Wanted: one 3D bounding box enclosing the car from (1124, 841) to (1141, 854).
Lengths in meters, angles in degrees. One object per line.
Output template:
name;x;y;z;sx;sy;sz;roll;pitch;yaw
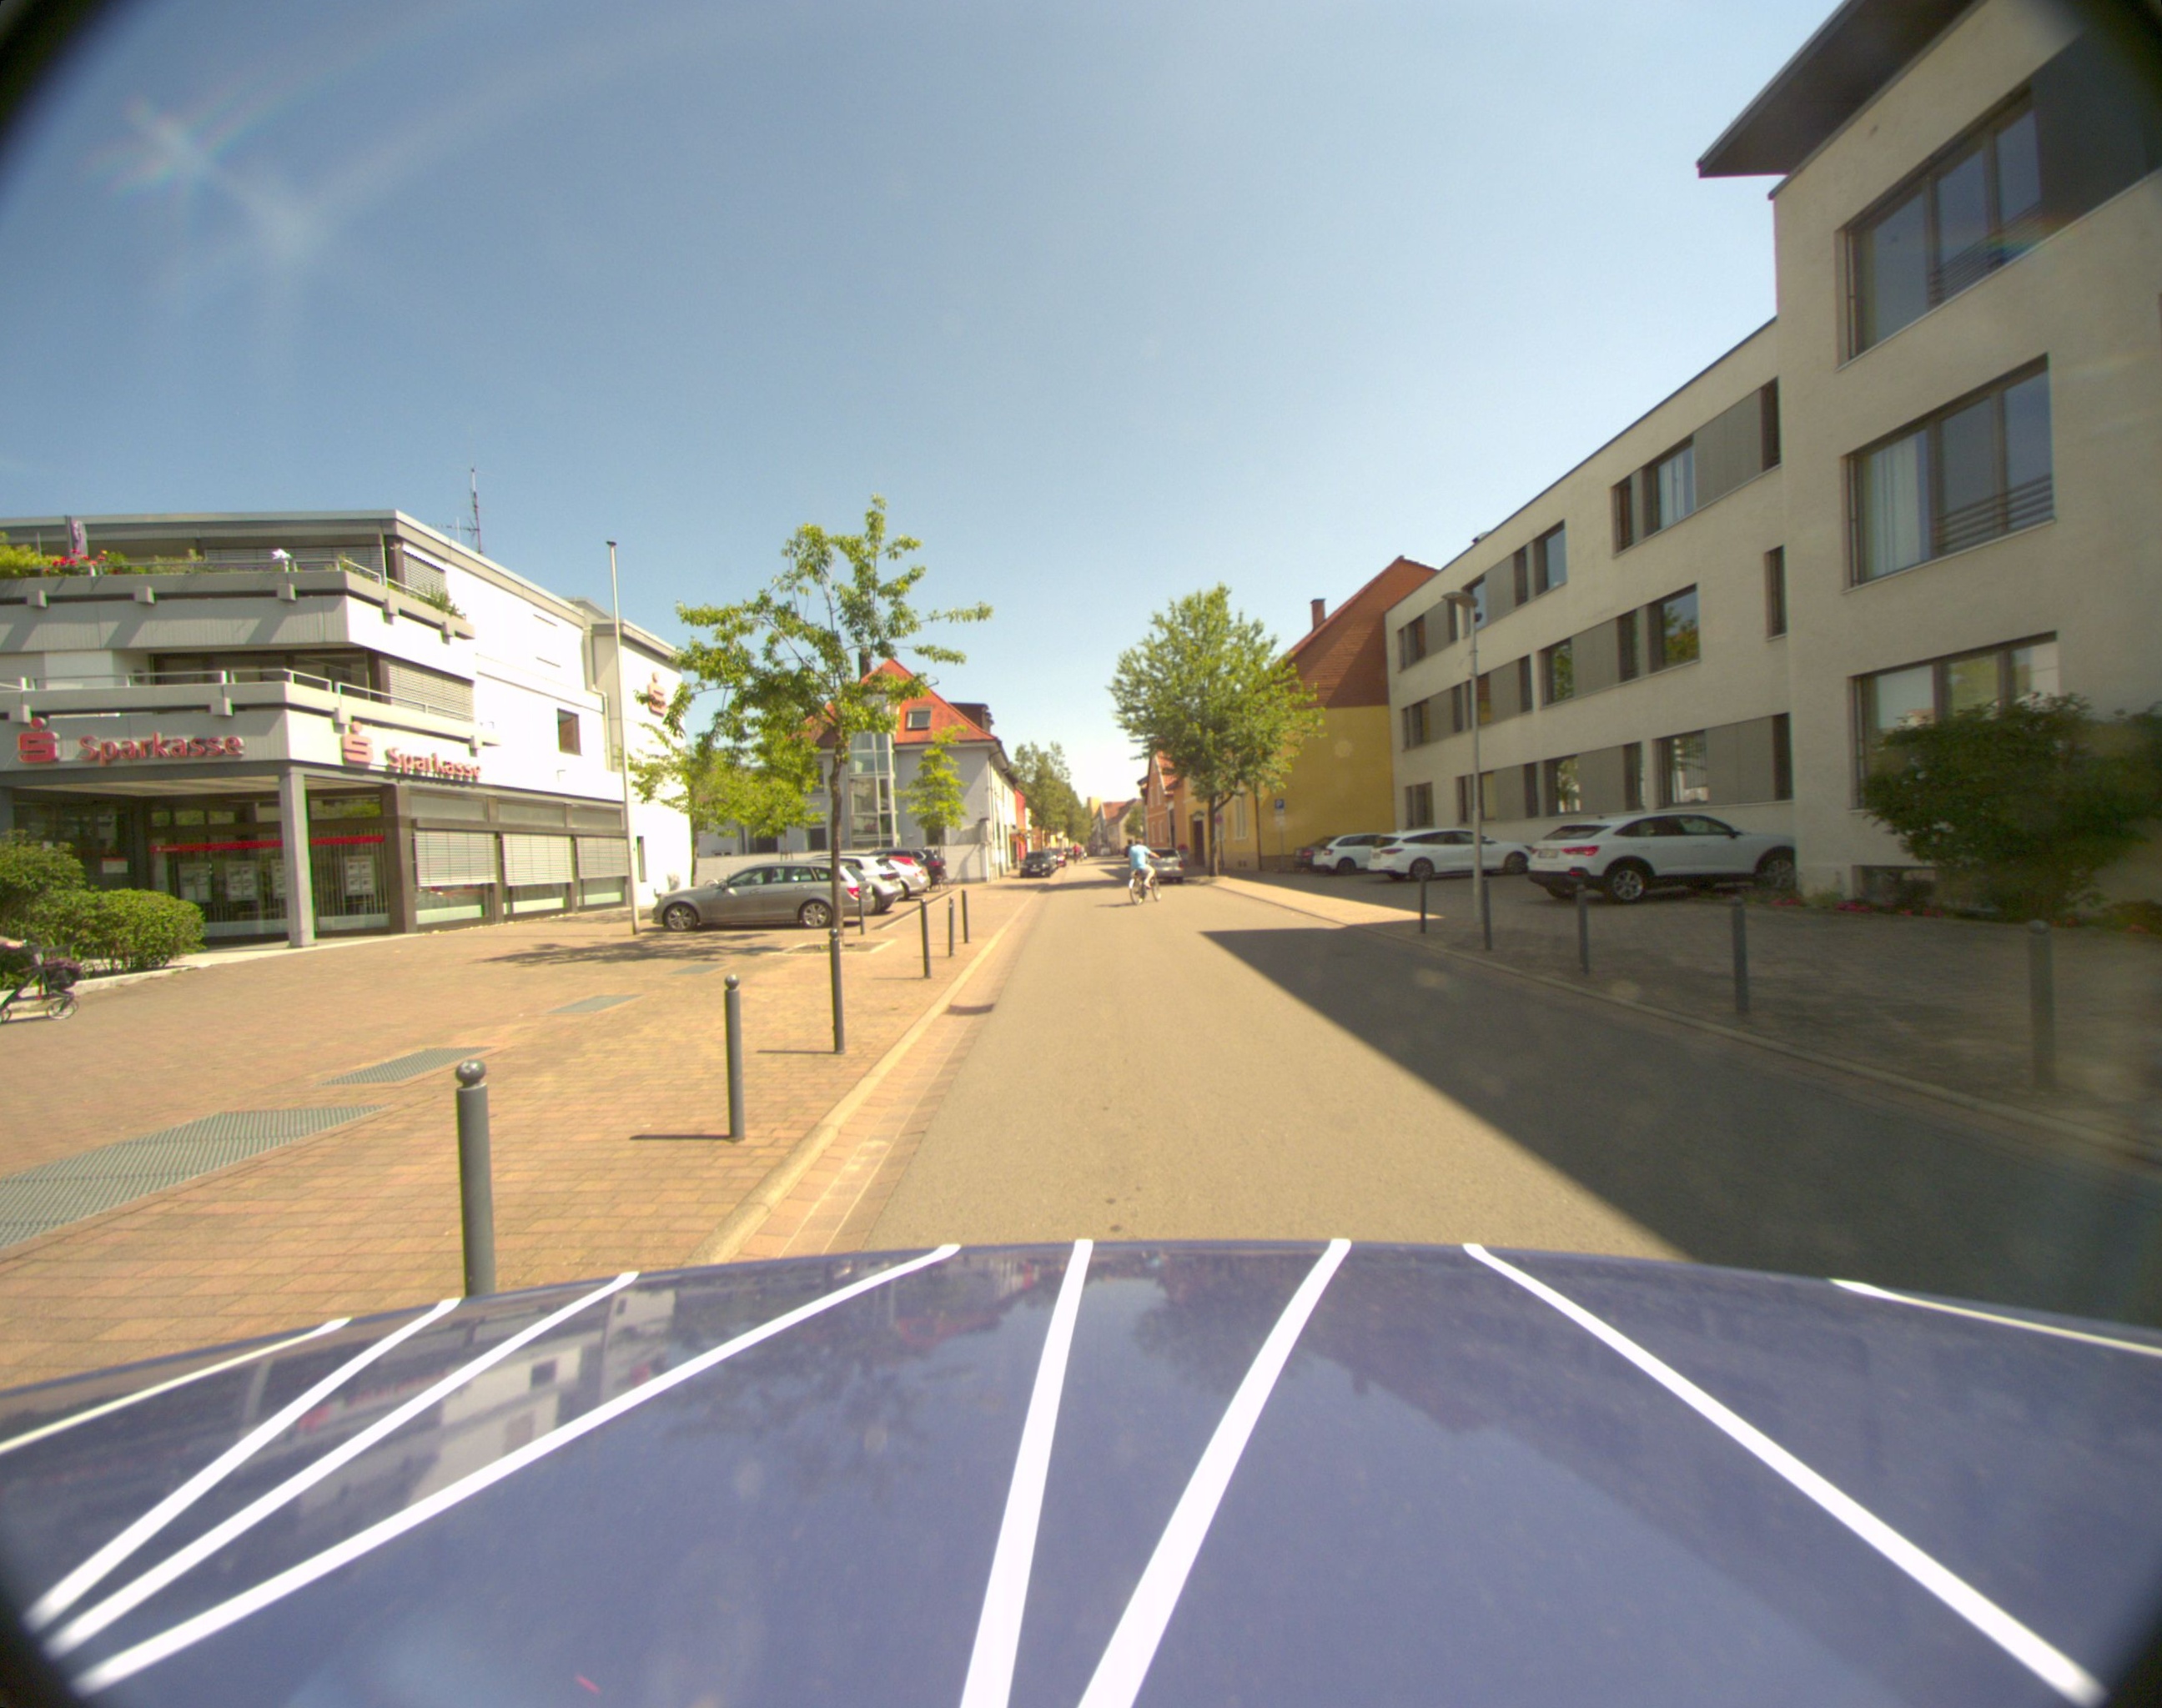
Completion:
car;6.812;-0.898;100.102;1.863;1.620;4.048;-3;1;7

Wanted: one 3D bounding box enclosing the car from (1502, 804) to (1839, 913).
car;10.640;0.063;13.995;4.518;1.545;2.147;-4;1;-2

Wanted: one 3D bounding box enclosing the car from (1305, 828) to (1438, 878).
car;10.373;-0.044;27.342;3.997;1.443;1.807;-4;0;0

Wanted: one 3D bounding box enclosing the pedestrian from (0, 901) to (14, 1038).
pedestrian;-12.256;1.288;8.173;0.667;1.488;0.812;-3;1;37

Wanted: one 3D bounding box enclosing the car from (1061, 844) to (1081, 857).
car;-1.284;-0.494;100.256;1.928;1.594;4.110;-3;1;7

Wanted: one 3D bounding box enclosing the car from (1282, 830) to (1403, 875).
car;10.266;-0.053;30.010;3.998;1.423;1.971;-4;0;-4

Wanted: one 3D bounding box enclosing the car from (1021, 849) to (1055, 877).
car;-2.385;0.470;42.462;1.708;1.473;3.920;-1;1;-1

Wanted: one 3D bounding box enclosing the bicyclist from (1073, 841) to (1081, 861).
bicyclist;-0.389;-0.269;68.757;0.645;1.766;0.722;-1;0;6

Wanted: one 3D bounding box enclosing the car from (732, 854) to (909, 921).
car;-6.659;0.824;19.825;3.999;1.565;1.856;-1;2;-5

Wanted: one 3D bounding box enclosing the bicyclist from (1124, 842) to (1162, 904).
bicyclist;1.577;0.468;19.258;0.669;1.518;0.763;-1;2;31

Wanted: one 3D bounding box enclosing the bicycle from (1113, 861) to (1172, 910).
bicycle;1.592;0.775;19.289;0.674;1.103;1.899;-1;1;31

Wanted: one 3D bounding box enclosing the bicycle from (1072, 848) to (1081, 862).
bicycle;-0.382;0.123;68.761;0.635;1.227;1.895;-1;-1;6

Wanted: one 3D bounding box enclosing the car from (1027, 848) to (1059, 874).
car;-2.376;0.417;48.259;1.721;1.473;4.095;-2;1;1

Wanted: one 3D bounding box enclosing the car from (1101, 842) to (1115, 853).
car;5.811;-1.356;162.889;2.443;2.224;4.958;-3;1;-3

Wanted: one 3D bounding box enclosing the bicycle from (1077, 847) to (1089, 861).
bicycle;0.185;-0.002;75.184;0.959;1.363;2.406;-2;1;4

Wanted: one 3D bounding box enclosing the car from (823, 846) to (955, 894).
car;-7.467;0.609;29.917;4.643;1.761;2.147;-1;0;-3

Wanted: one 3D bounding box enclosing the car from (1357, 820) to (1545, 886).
car;10.755;-0.048;22.293;4.515;1.545;1.934;-4;2;0

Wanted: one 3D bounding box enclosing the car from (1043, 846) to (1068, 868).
car;-2.133;0.187;62.173;1.834;1.579;4.086;-4;1;-3

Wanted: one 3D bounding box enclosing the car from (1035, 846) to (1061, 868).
car;-2.384;0.224;56.046;1.741;1.504;3.735;-2;0;-1

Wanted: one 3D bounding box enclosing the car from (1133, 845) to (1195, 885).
car;3.245;0.394;30.552;1.885;1.455;4.435;-1;1;-1

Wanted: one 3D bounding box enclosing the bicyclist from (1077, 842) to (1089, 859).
bicyclist;0.182;-0.335;75.479;1.028;1.635;1.025;-2;1;3

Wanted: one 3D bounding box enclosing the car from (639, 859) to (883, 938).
car;-6.922;0.918;16.885;4.589;1.504;1.915;-1;1;-6

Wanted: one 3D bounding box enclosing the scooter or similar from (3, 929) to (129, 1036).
scooter or similar;-11.773;1.460;8.829;0.589;1.069;0.807;-2;1;36
